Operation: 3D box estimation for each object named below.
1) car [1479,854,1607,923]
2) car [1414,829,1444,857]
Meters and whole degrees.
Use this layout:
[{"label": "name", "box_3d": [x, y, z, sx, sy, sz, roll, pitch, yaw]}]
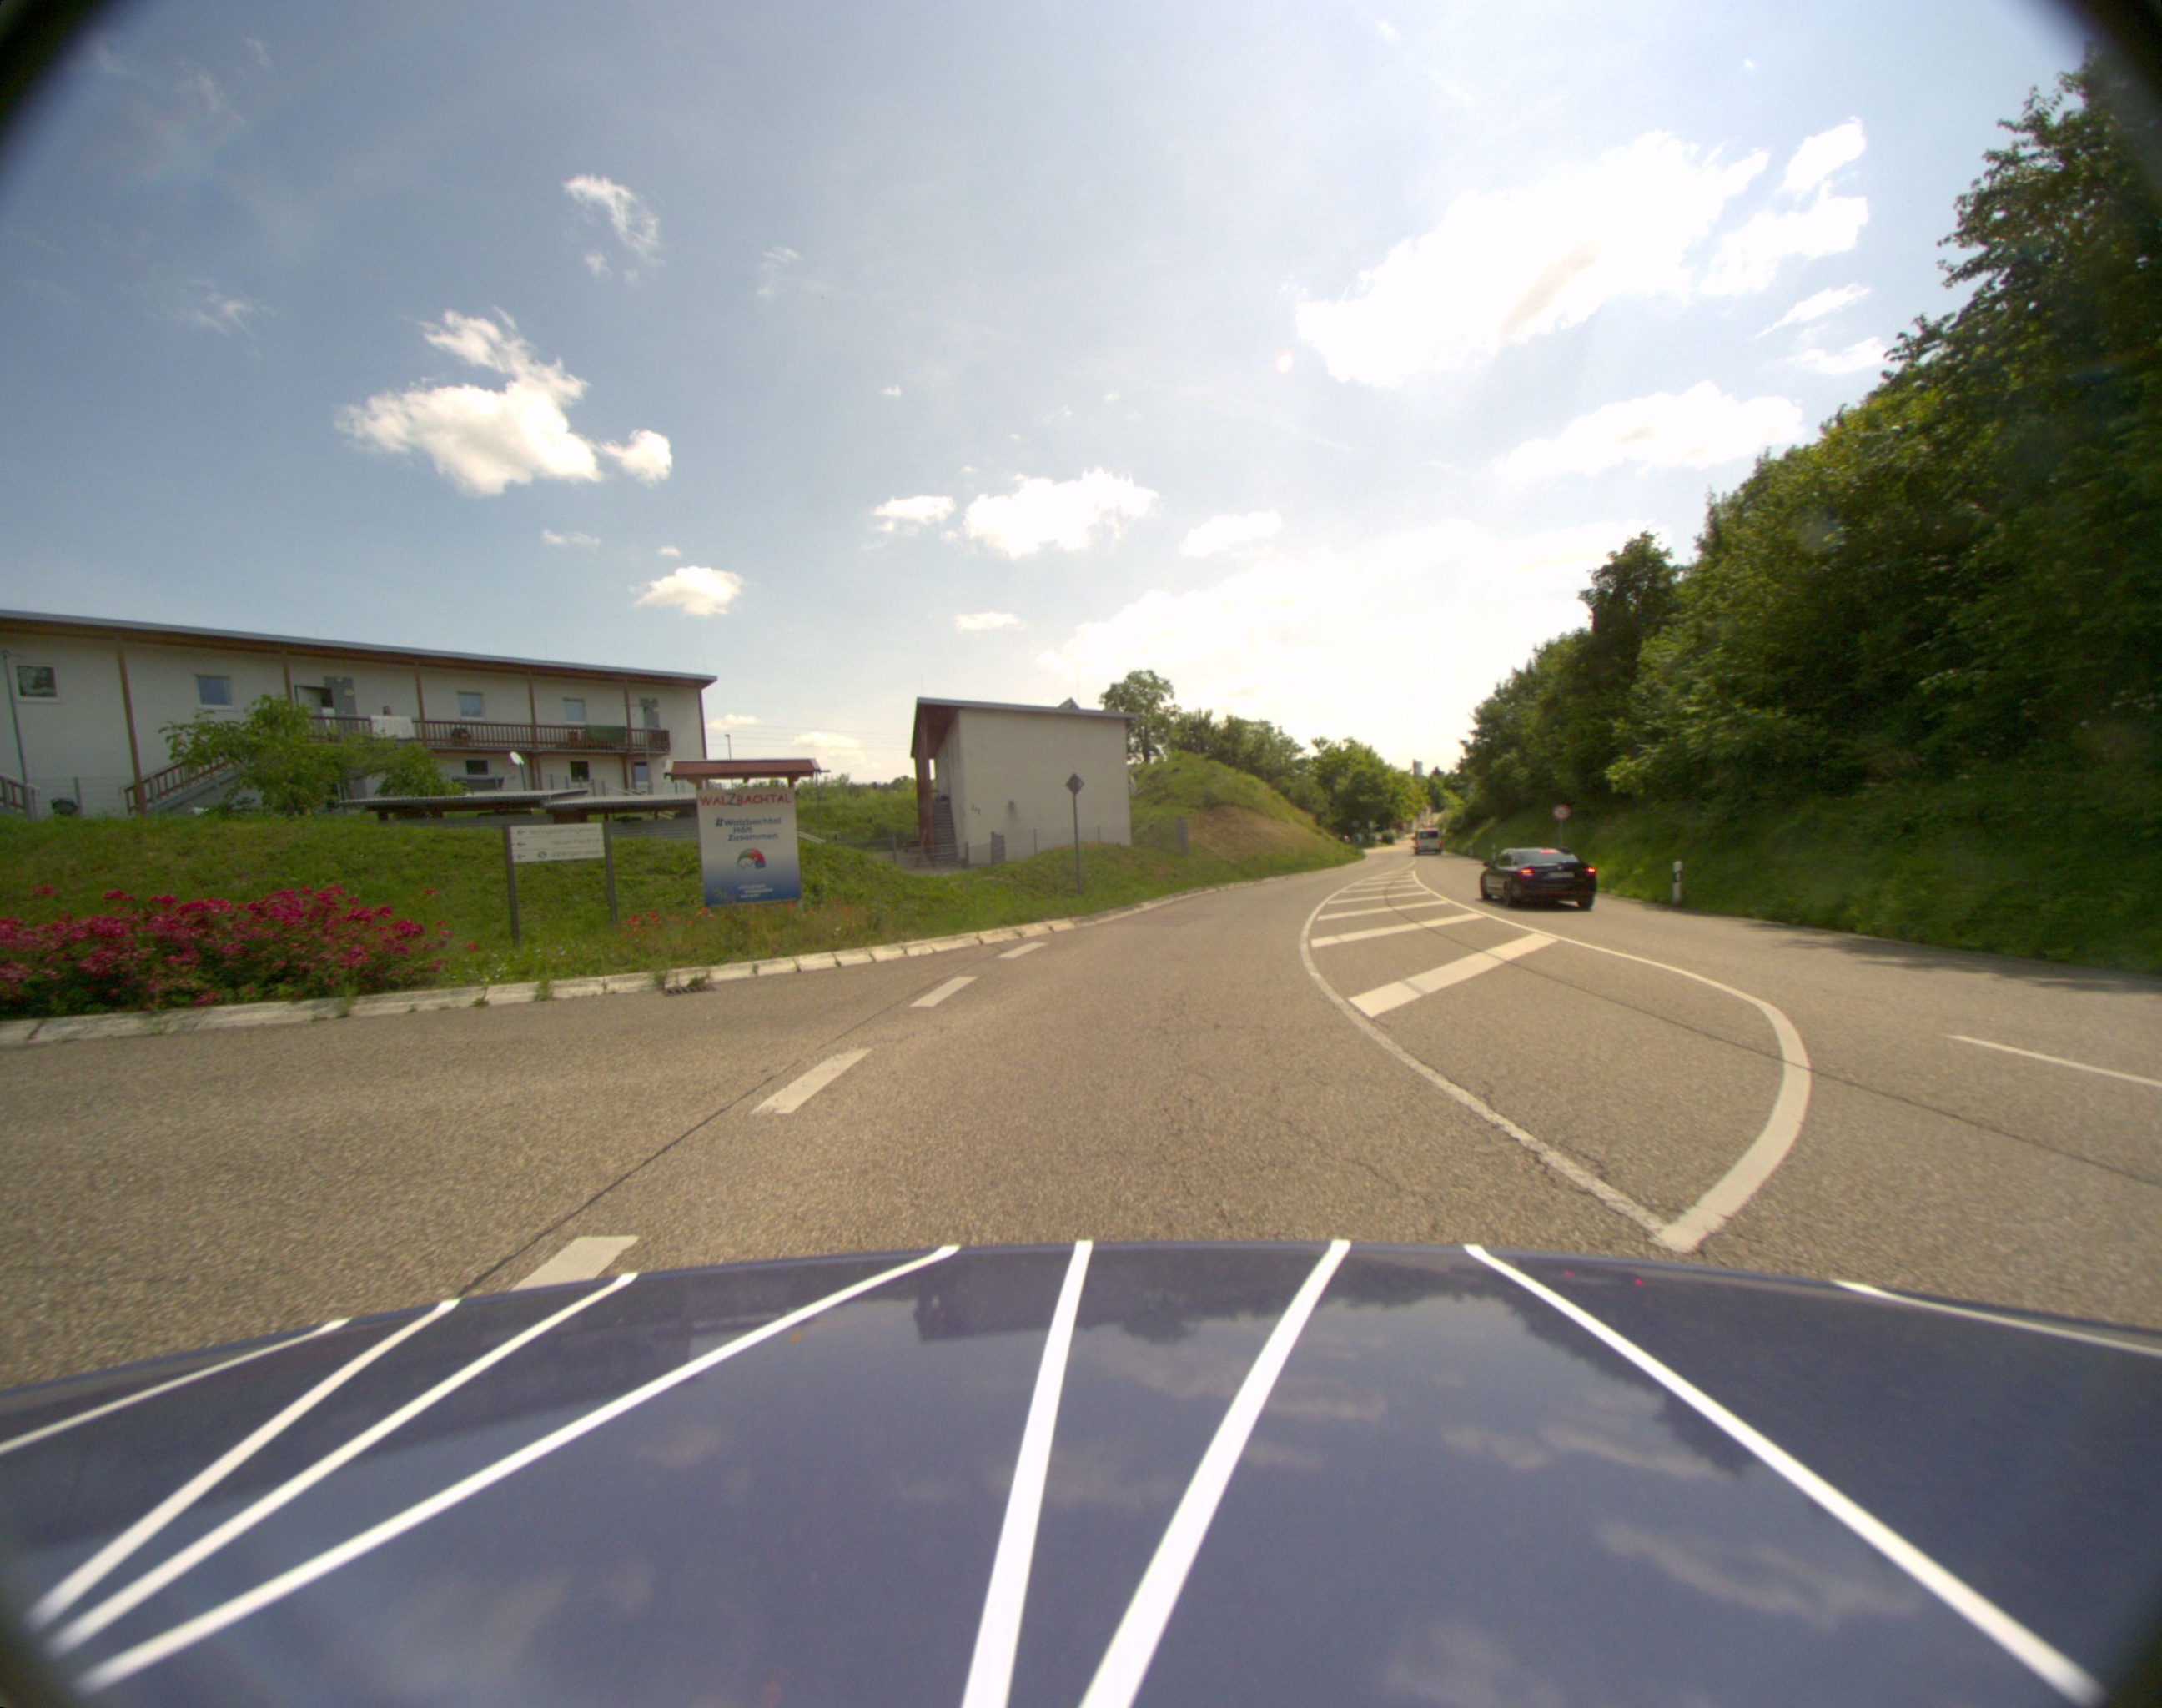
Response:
[{"label": "car", "box_3d": [11.218, 0.757, 18.766, 1.686, 1.411, 4.349, 0, 1, 17]}, {"label": "car", "box_3d": [31.607, -1.042, 69.107, 2.088, 2.278, 5.952, -1, 3, 20]}]
